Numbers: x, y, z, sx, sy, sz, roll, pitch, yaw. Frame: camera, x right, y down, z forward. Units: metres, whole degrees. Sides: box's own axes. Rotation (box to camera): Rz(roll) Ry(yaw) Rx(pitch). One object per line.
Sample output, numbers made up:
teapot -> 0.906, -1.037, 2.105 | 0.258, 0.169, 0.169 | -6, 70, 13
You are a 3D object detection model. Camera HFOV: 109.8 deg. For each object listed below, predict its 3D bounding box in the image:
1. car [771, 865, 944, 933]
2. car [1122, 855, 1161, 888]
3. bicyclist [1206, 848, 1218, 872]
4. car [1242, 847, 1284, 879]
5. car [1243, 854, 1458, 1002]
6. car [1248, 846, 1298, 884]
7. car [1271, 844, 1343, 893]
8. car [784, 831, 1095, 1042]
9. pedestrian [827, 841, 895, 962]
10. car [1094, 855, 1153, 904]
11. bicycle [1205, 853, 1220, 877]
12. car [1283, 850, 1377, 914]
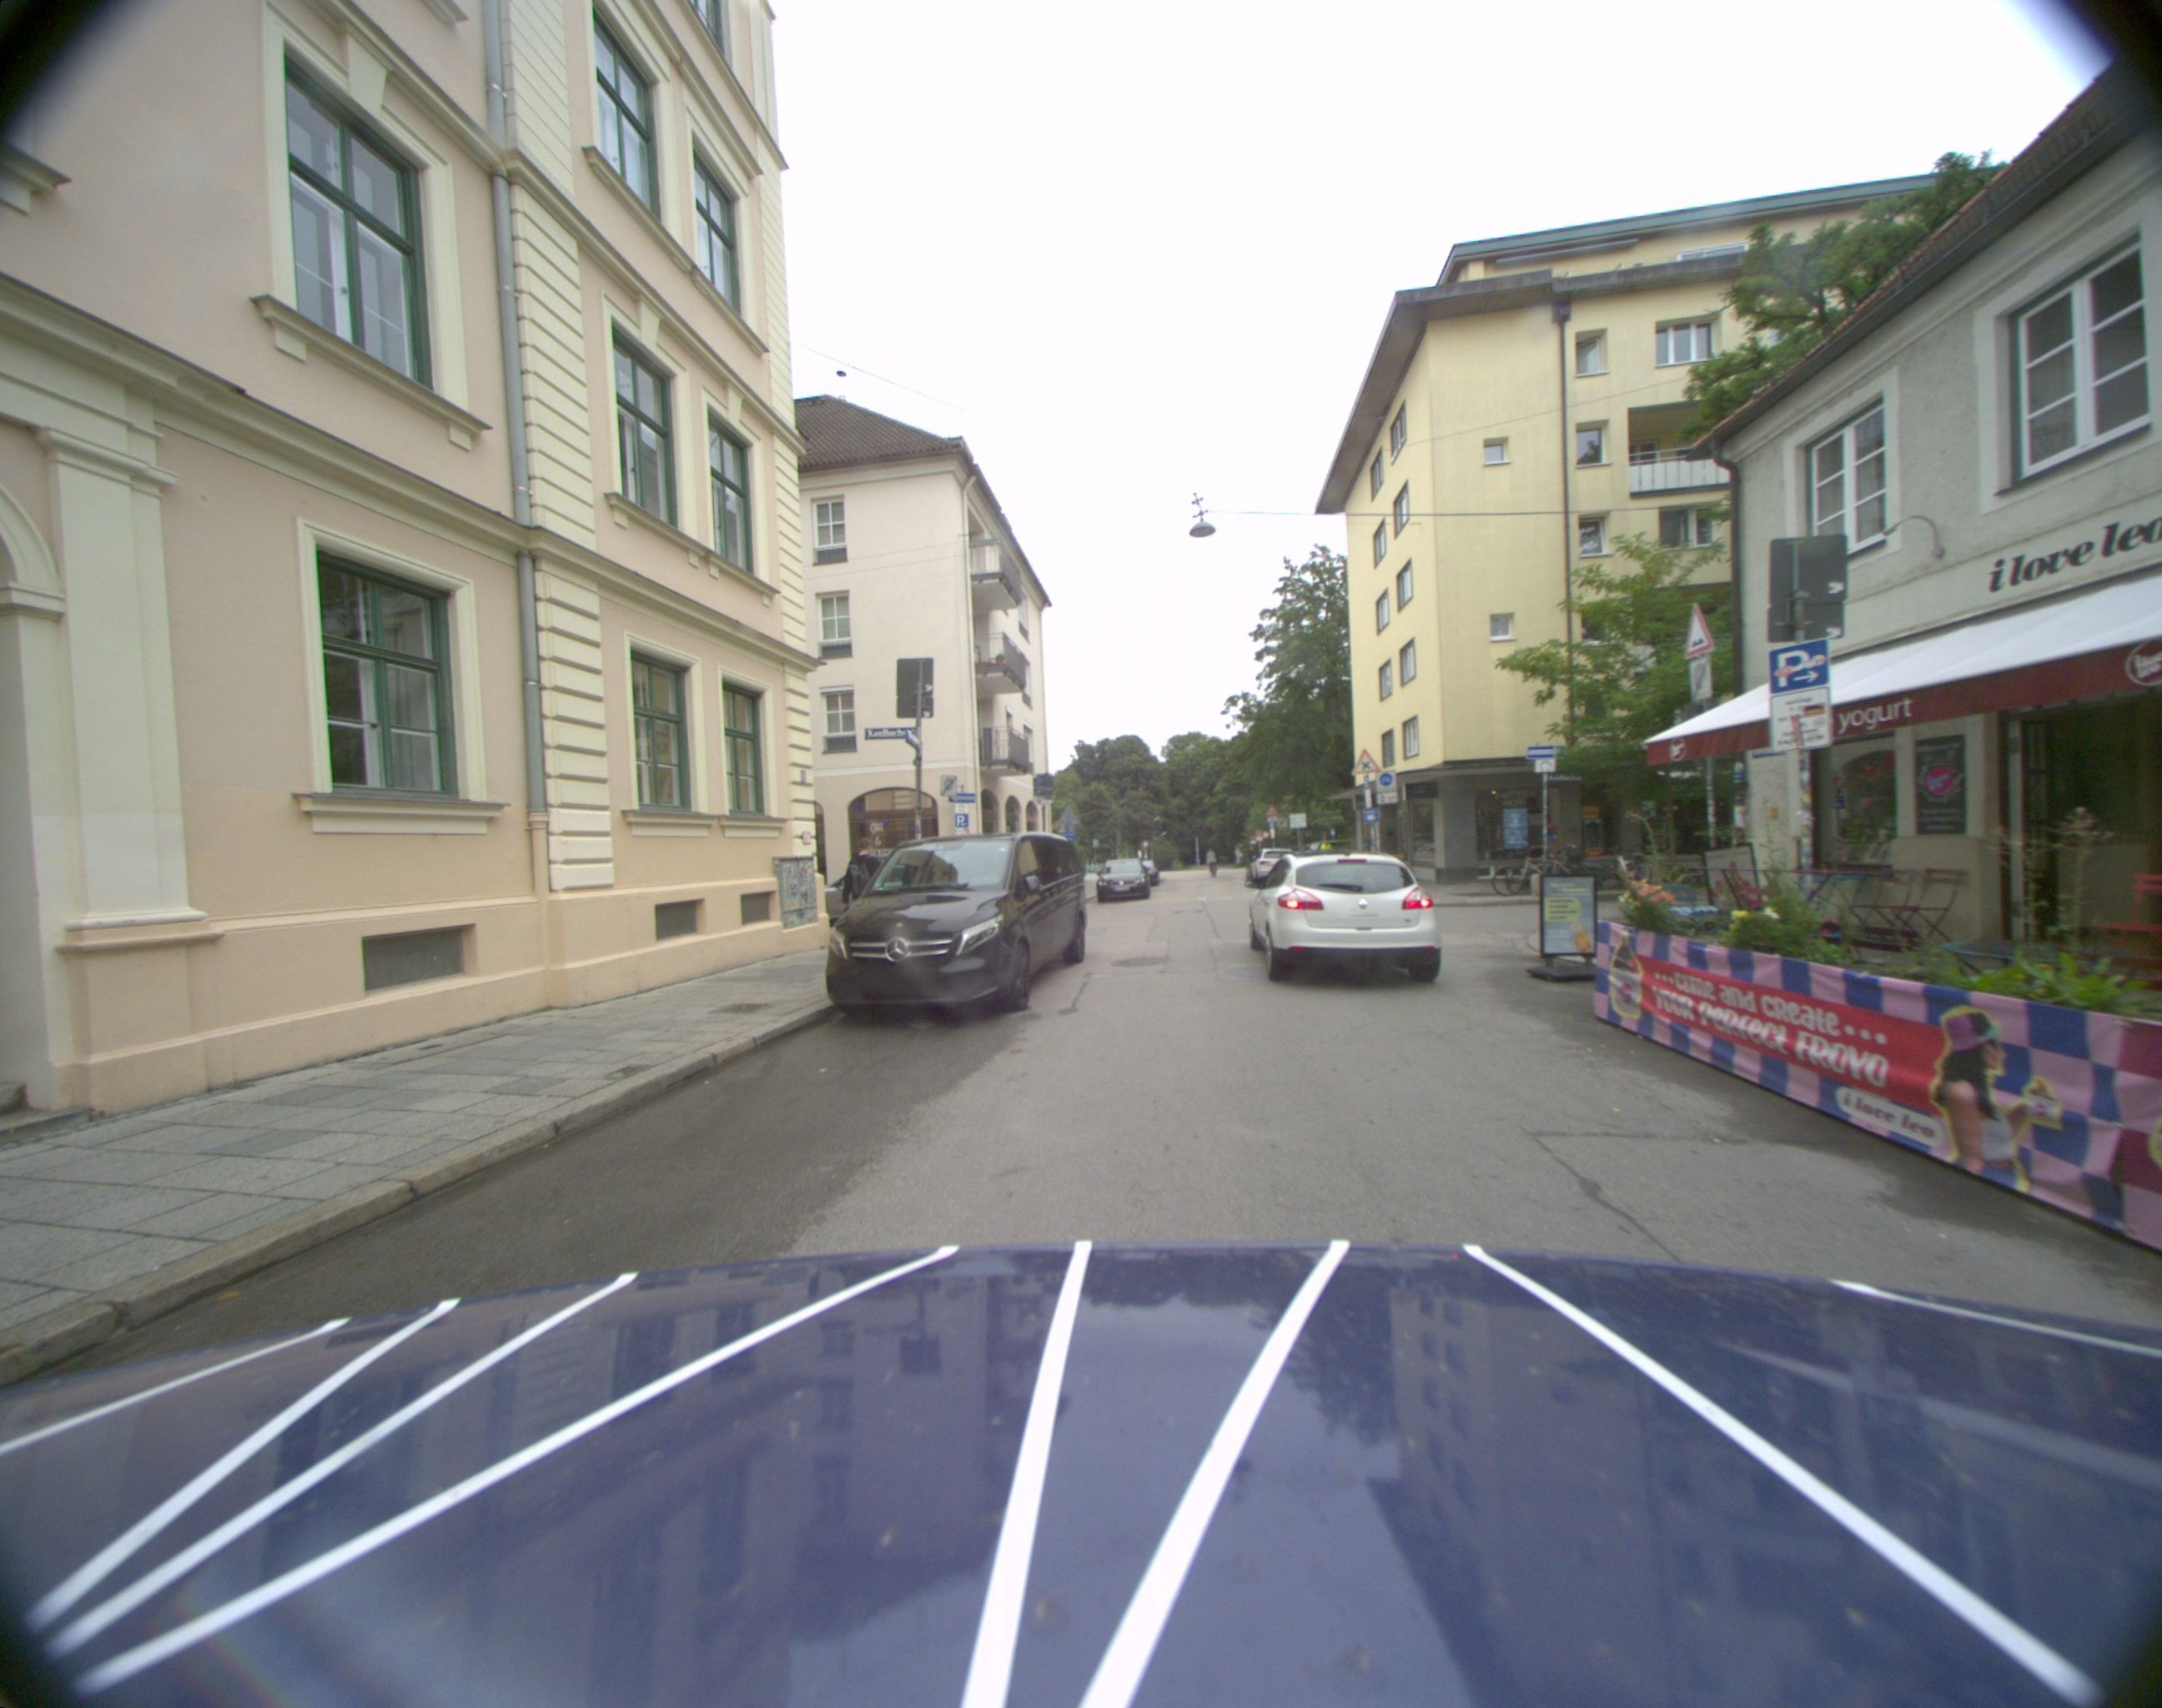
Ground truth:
car -> -5.864, 1.169, 20.220 | 3.995, 1.556, 1.713 | -2, 1, 6
car -> 3.217, 0.871, 39.756 | 1.710, 1.491, 4.002 | -2, 0, 8
bicyclist -> 8.210, 0.389, 47.613 | 0.650, 1.466, 0.767 | -3, 1, 12
car -> 9.606, 0.442, 40.352 | 1.710, 1.550, 4.002 | -2, 0, 8
car -> 3.096, 0.755, 9.547 | 1.792, 1.409, 3.907 | -1, 1, 8
car -> 8.587, 0.455, 34.313 | 1.710, 1.550, 4.002 | -2, 0, 8
car -> 7.604, 0.427, 25.866 | 1.710, 1.491, 4.002 | -2, 0, 8
car -> -1.250, 0.727, 9.313 | 1.997, 1.850, 5.117 | -2, 0, 10
pedestrian -> -3.404, 0.717, 11.797 | 0.697, 1.792, 0.730 | -2, 1, 8
car -> 1.585, 0.837, 27.046 | 1.710, 1.491, 4.002 | -2, 0, 8
bicycle -> 8.255, 0.661, 47.627 | 0.688, 1.371, 2.400 | -3, 0, 13
car -> 6.683, 0.696, 20.787 | 1.710, 1.491, 4.002 | -2, 0, 8
